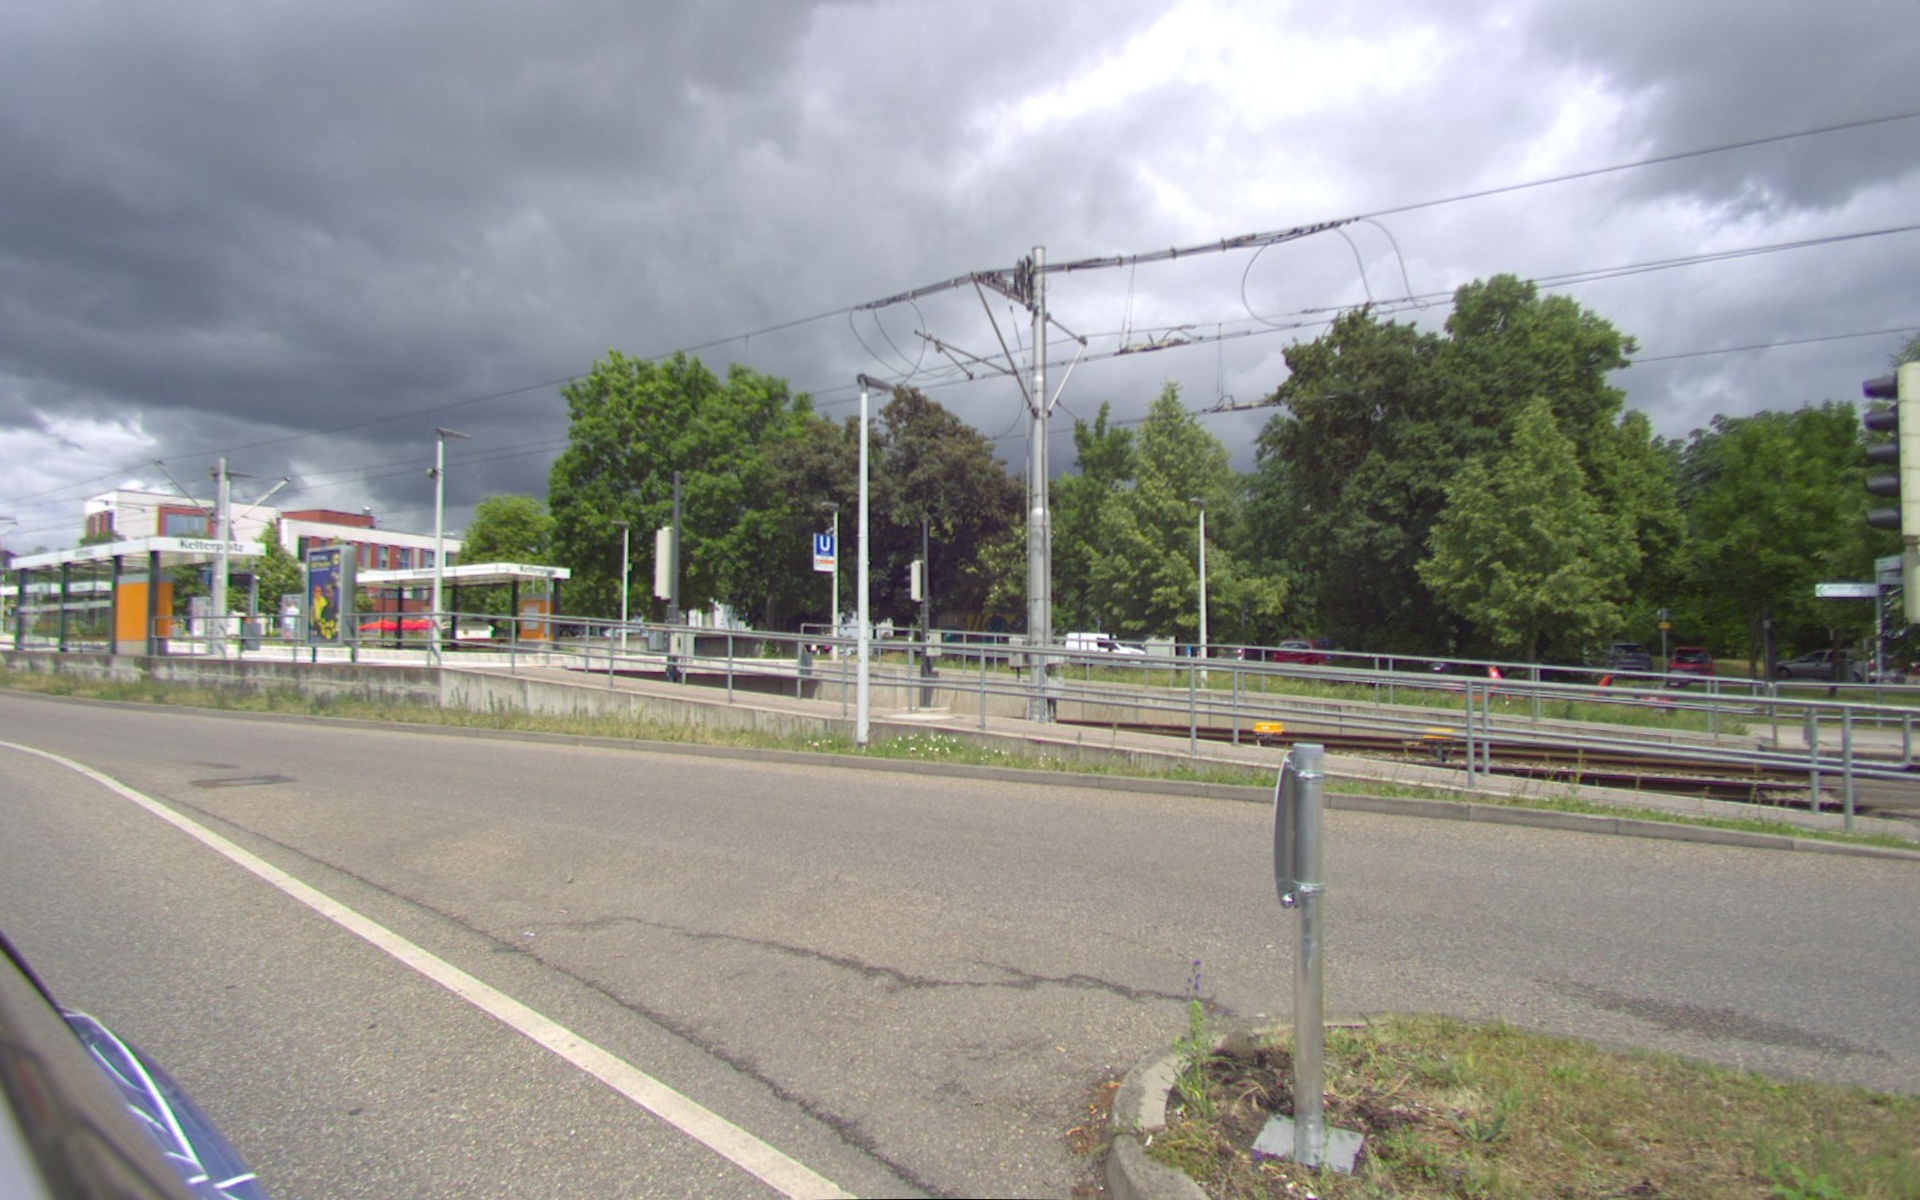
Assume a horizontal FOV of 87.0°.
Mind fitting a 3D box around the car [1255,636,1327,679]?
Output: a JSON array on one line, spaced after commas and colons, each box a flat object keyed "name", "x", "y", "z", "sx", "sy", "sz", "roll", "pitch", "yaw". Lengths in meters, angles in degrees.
[{"name": "car", "x": 13.727, "y": 2.376, "z": 41.897, "sx": 2.045, "sy": 1.719, "sz": 3.609, "roll": -2, "pitch": -4, "yaw": 31}]

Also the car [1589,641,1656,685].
[{"name": "car", "x": 29.611, "y": 2.789, "z": 45.191, "sx": 1.998, "sy": 1.849, "sz": 3.947, "roll": -3, "pitch": -4, "yaw": 39}]

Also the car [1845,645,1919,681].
[{"name": "car", "x": 42.017, "y": 2.805, "z": 45.148, "sx": 1.466, "sy": 1.578, "sz": 3.490, "roll": 1, "pitch": -3, "yaw": -25}]

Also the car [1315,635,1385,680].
[{"name": "car", "x": 15.776, "y": 2.312, "z": 40.861, "sx": 1.967, "sy": 1.697, "sz": 3.958, "roll": -2, "pitch": -4, "yaw": 31}]

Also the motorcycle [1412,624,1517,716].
[{"name": "motorcycle", "x": 11.670, "y": 1.598, "z": 23.463, "sx": 0.823, "sy": 2.029, "sz": 1.984, "roll": 3, "pitch": -4, "yaw": -44}]

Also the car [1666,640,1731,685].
[{"name": "car", "x": 32.211, "y": 2.705, "z": 44.076, "sx": 1.998, "sy": 1.849, "sz": 3.947, "roll": -3, "pitch": -4, "yaw": 39}]

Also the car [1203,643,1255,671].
[{"name": "car", "x": 14.799, "y": 3.122, "z": 55.493, "sx": 1.960, "sy": 1.503, "sz": 3.796, "roll": -2, "pitch": -3, "yaw": 28}]

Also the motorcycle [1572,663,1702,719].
[{"name": "motorcycle", "x": 14.353, "y": 1.898, "z": 21.501, "sx": 2.213, "sy": 1.089, "sz": 0.722, "roll": -2, "pitch": -4, "yaw": 39}]

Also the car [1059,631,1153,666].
[{"name": "car", "x": 7.499, "y": 2.501, "z": 52.052, "sx": 4.383, "sy": 1.691, "sz": 1.931, "roll": -2, "pitch": -3, "yaw": 27}]

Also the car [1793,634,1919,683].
[{"name": "car", "x": 38.960, "y": 2.518, "z": 43.743, "sx": 1.965, "sy": 2.029, "sz": 4.013, "roll": 1, "pitch": -3, "yaw": -24}]
